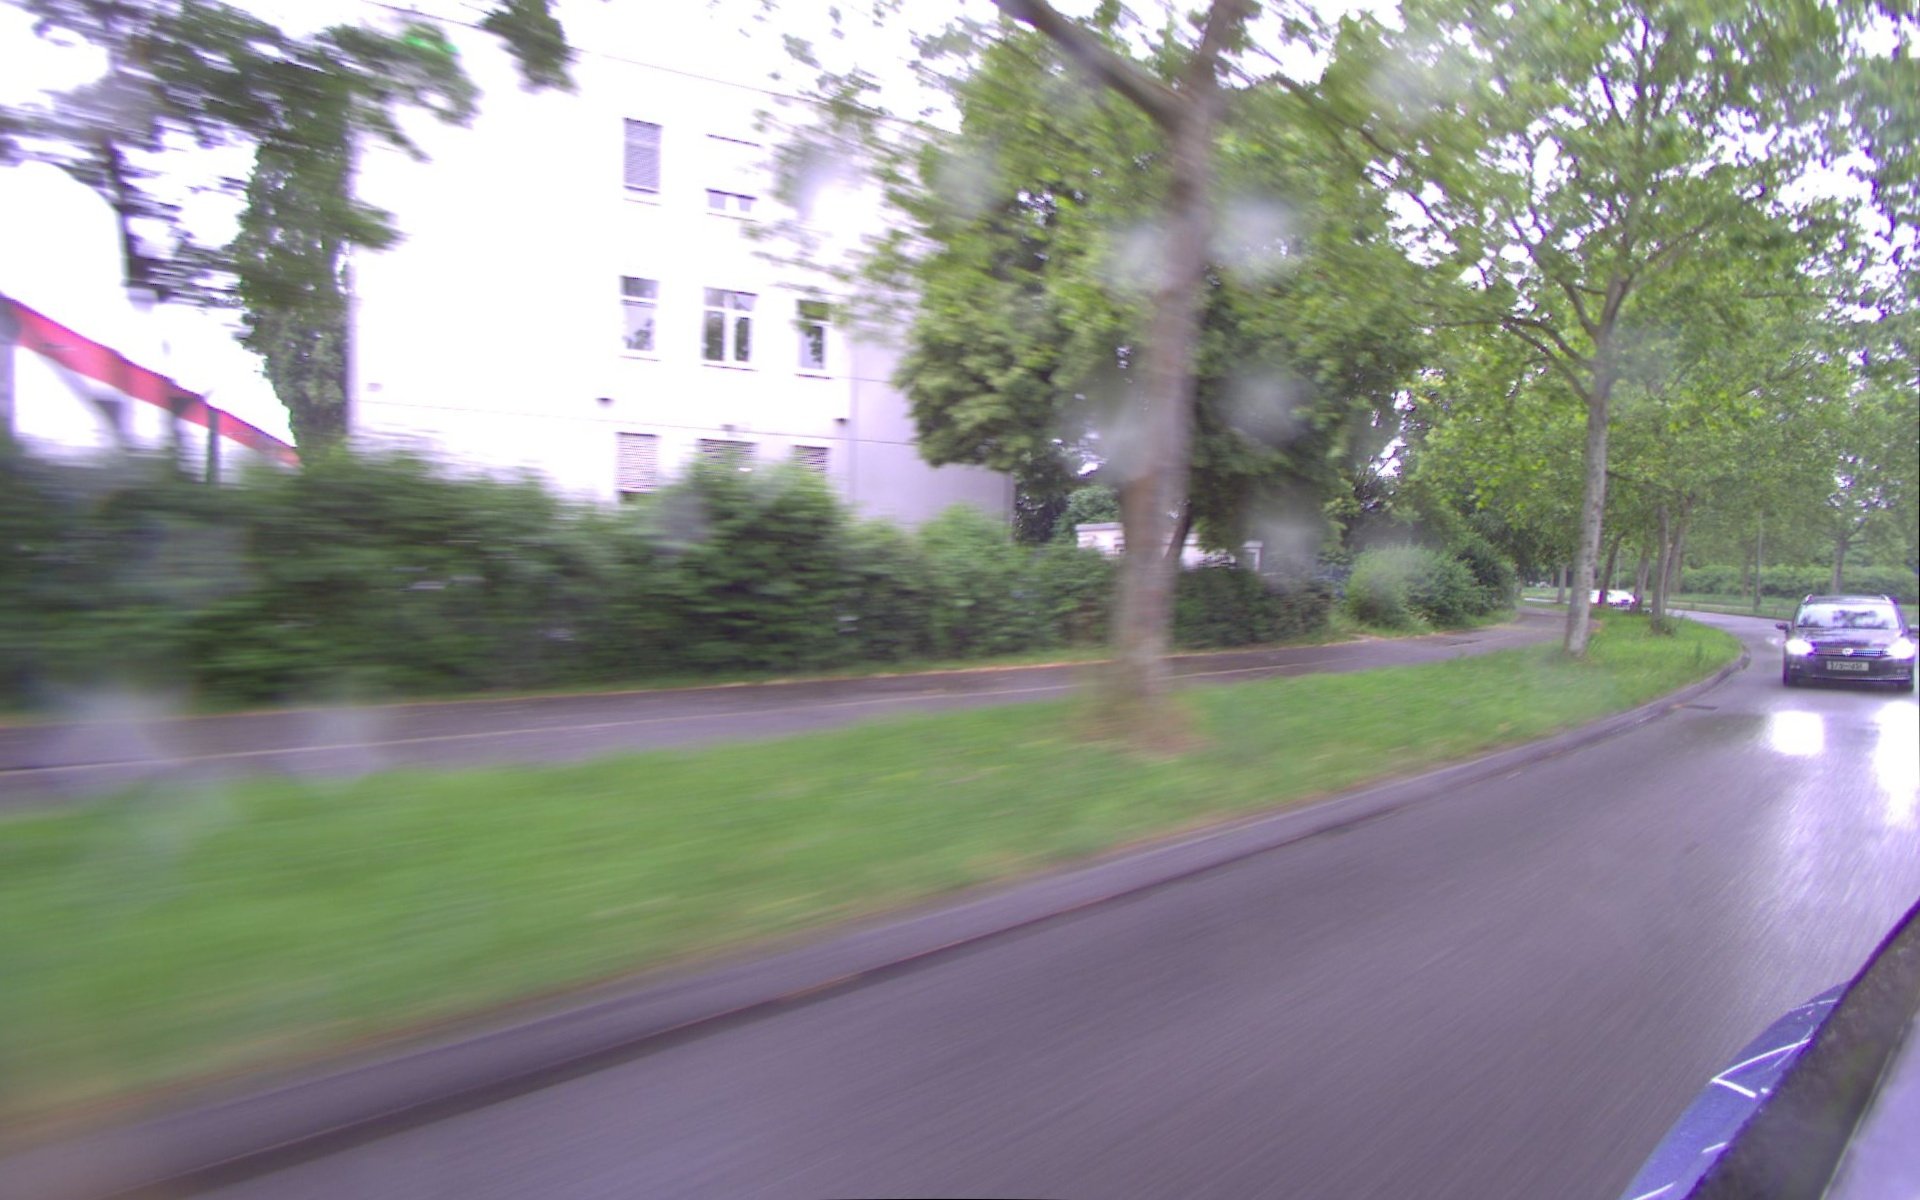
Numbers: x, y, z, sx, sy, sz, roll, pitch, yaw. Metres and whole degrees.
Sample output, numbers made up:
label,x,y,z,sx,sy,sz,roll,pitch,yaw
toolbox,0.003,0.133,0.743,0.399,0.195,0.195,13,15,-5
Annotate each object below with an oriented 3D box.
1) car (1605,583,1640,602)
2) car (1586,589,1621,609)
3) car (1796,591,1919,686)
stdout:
label,x,y,z,sx,sy,sz,roll,pitch,yaw
car,58.501,-0.679,89.439,1.764,1.575,3.971,1,1,22
car,54.334,-0.102,85.497,1.764,1.575,3.971,1,1,22
car,16.755,0.638,18.731,1.778,1.575,3.939,-1,-1,42
